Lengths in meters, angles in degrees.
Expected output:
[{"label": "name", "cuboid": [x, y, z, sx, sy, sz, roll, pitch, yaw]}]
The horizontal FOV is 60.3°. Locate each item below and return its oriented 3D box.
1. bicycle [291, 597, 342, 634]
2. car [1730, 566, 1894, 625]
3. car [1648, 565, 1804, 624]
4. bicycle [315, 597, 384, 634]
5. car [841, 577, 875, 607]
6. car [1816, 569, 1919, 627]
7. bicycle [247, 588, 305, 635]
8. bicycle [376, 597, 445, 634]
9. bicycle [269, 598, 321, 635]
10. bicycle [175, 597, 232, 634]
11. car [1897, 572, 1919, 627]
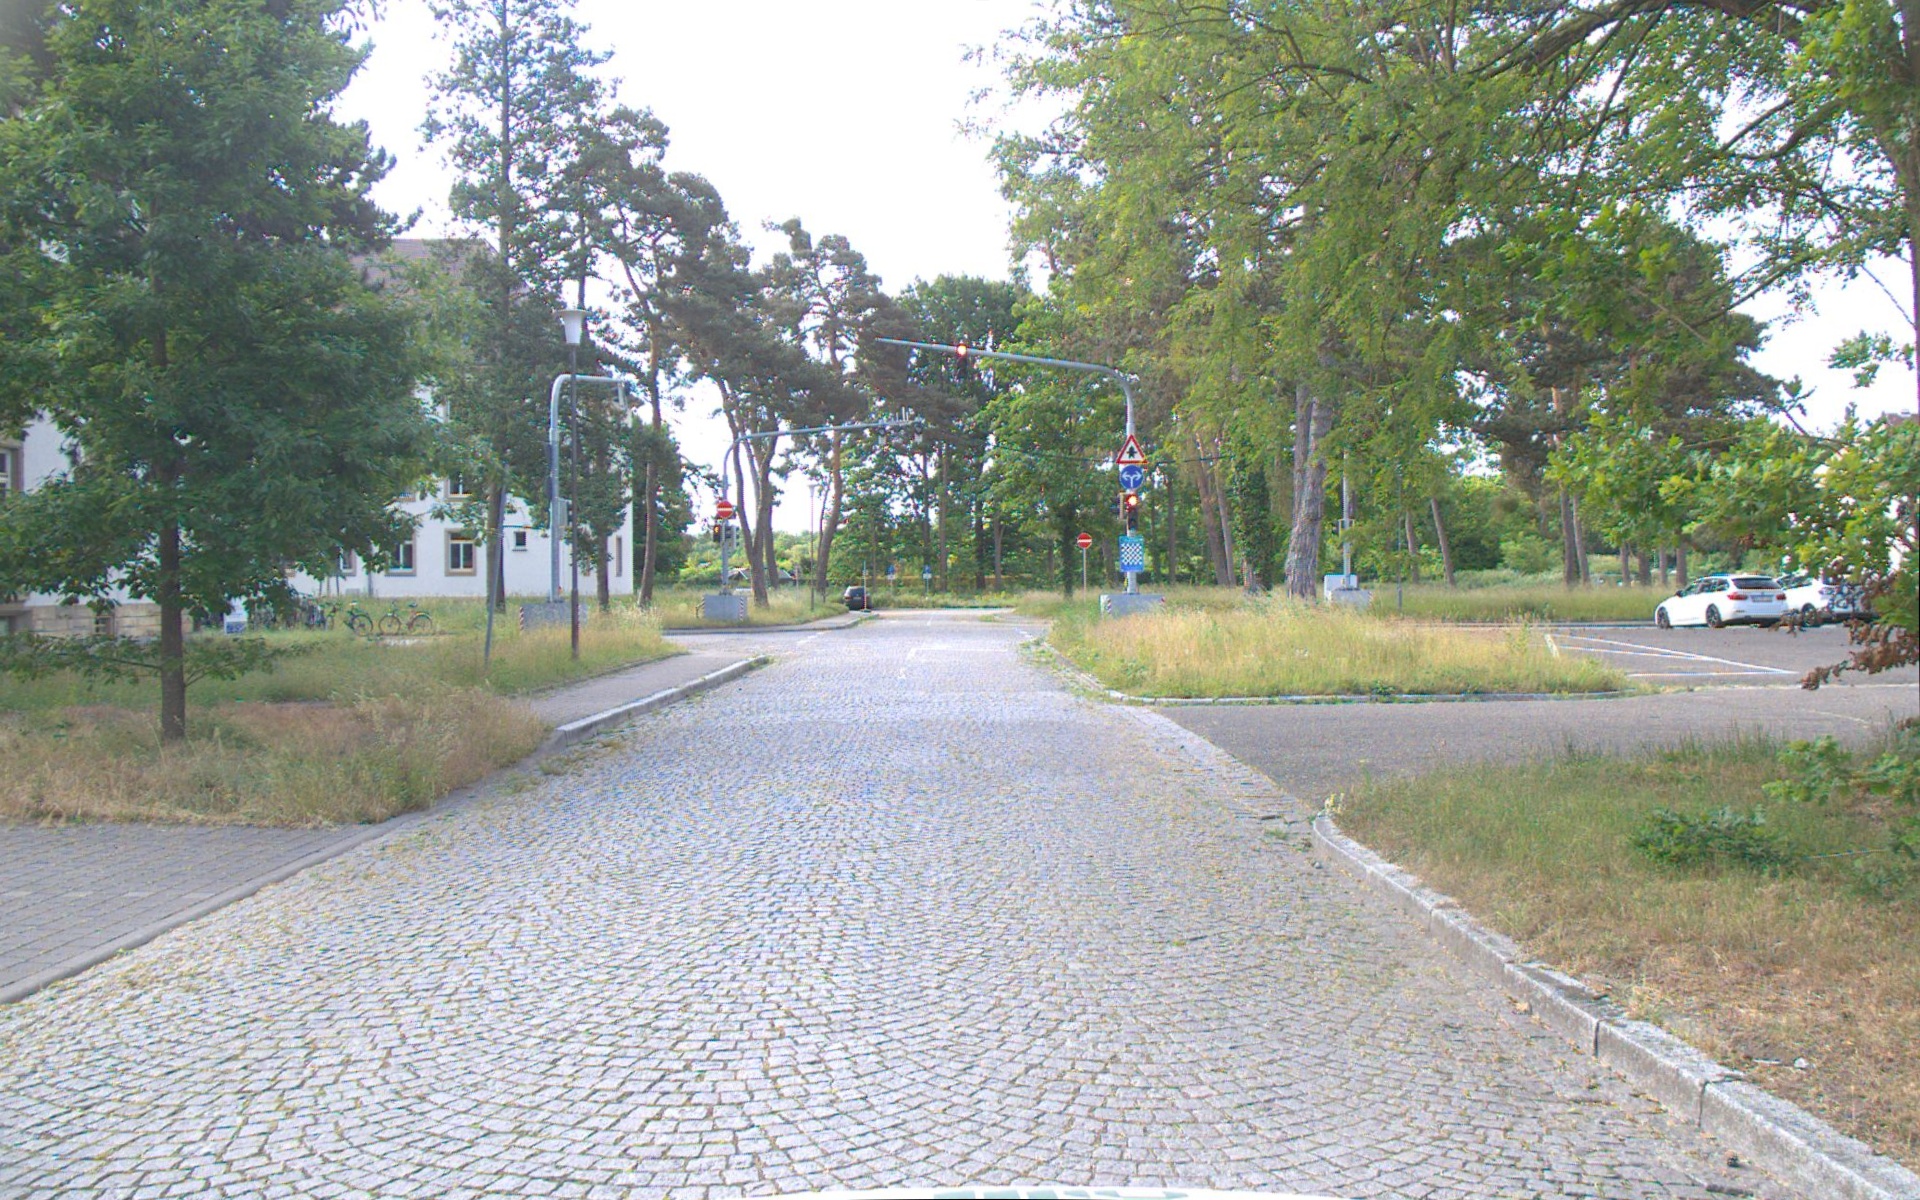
[{"label": "bicycle", "cuboid": [-20.143, 0.483, 51.808, 0.721, 1.095, 2.273, -1, 1, 0]}, {"label": "car", "cuboid": [23.203, -0.076, 45.231, 1.954, 1.507, 4.421, -1, -1, -4]}, {"label": "car", "cuboid": [20.738, -0.112, 45.013, 1.954, 1.507, 4.421, -1, -1, -4]}, {"label": "bicycle", "cuboid": [-18.669, 0.470, 50.579, 1.818, 1.095, 0.738, -1, 0, 1]}, {"label": "car", "cuboid": [-6.663, -0.515, 108.130, 2.014, 1.878, 3.999, -1, 1, -1]}, {"label": "car", "cuboid": [25.815, -0.037, 45.564, 1.954, 1.507, 4.421, -1, -1, -4]}, {"label": "bicycle", "cuboid": [-21.507, 0.349, 52.062, 0.721, 1.410, 2.711, -1, 0, 0]}, {"label": "bicycle", "cuboid": [-16.818, 0.462, 50.646, 1.818, 1.095, 0.831, -1, 0, 1]}, {"label": "bicycle", "cuboid": [-20.771, 0.496, 51.718, 0.721, 1.095, 2.273, -1, 1, 0]}, {"label": "bicycle", "cuboid": [-23.640, 0.477, 51.718, 0.721, 1.095, 2.273, -1, 1, 0]}, {"label": "car", "cuboid": [28.426, -0.020, 46.081, 1.954, 1.550, 4.421, 1, -1, -4]}]
